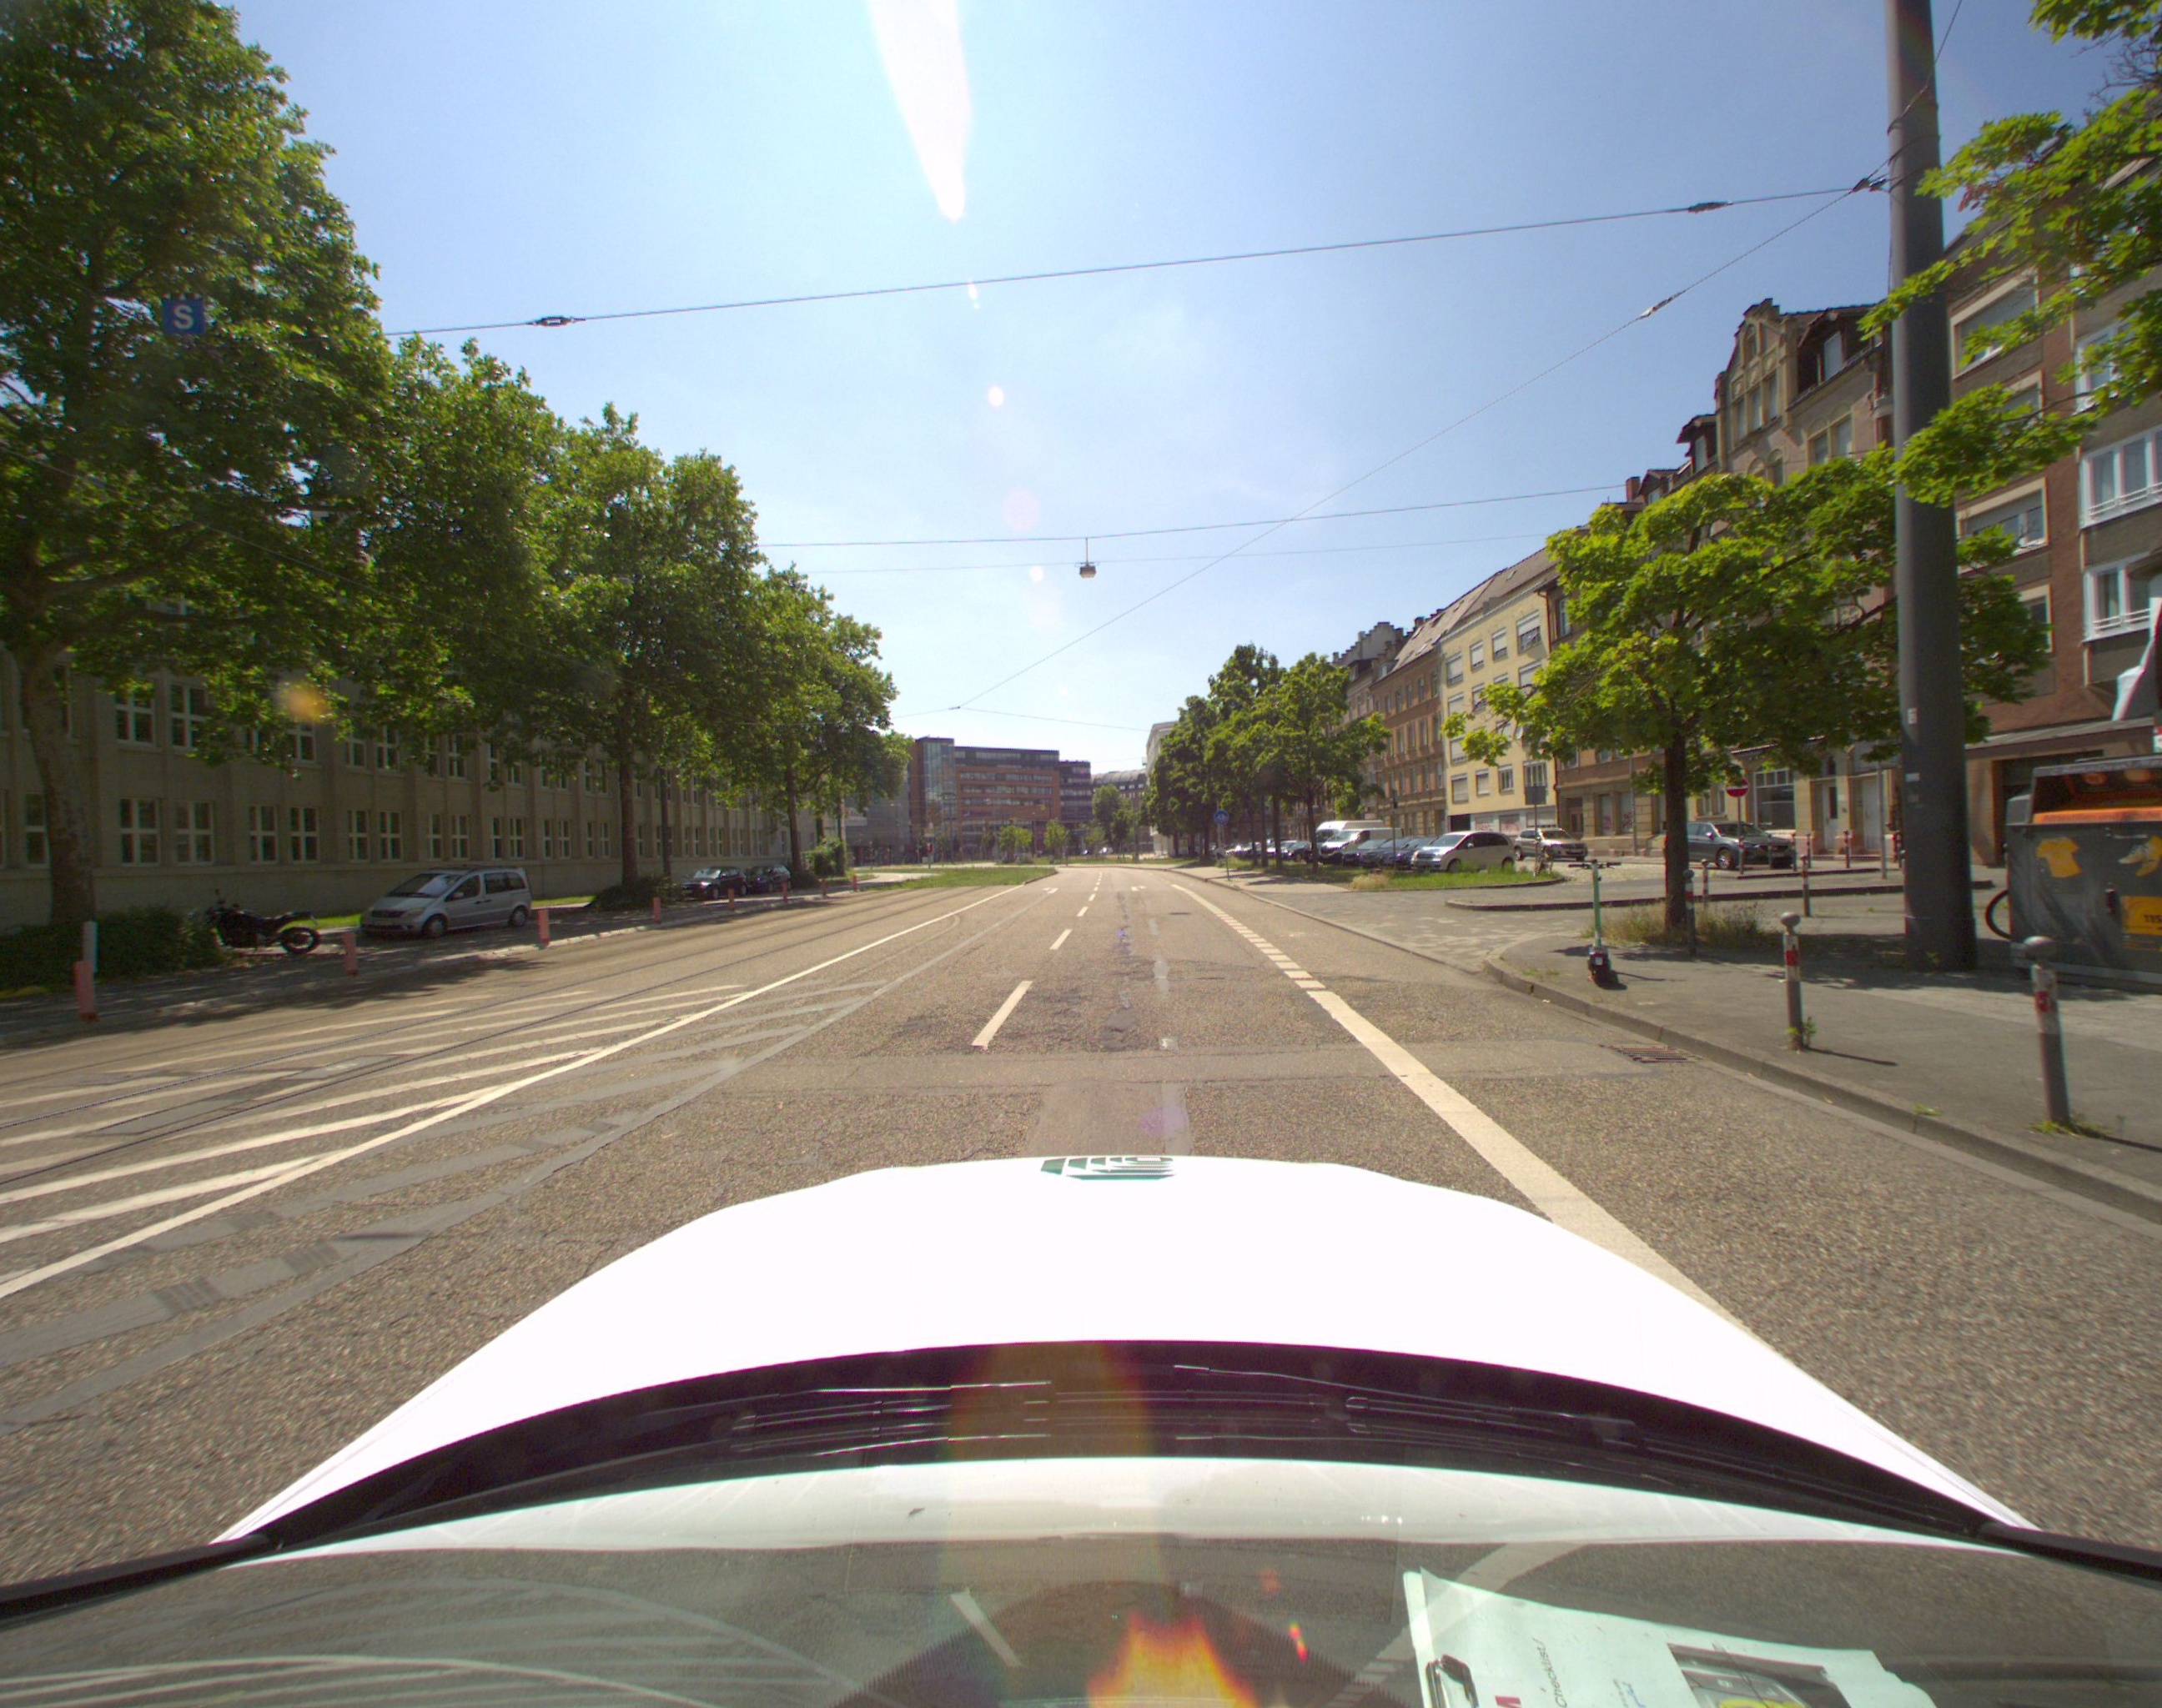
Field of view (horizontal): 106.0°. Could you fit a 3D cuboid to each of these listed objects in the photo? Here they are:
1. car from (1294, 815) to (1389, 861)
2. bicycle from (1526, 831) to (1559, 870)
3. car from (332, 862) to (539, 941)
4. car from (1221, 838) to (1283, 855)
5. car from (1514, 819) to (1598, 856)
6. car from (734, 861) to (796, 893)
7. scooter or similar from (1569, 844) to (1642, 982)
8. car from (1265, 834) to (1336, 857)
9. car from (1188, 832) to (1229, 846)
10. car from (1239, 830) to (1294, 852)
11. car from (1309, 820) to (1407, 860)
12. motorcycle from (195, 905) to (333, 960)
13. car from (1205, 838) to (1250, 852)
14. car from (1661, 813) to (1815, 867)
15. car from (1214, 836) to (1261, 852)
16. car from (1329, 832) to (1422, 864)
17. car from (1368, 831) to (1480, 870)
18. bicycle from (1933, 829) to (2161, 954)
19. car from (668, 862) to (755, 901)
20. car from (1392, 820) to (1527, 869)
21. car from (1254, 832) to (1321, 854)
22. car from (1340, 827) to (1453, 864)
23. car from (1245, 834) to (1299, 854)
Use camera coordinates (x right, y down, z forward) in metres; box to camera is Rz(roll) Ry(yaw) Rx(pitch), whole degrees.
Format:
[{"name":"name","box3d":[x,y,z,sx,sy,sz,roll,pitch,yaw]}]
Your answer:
[{"name":"car","box3d":[14.806,-0.941,46.119,5.575,2.460,2.214,-2,1,-35]},{"name":"bicycle","box3d":[14.824,-0.126,26.140,0.731,1.193,2.375,-1,1,33]},{"name":"car","box3d":[-17.293,1.189,22.155,1.985,1.810,4.305,-1,1,4]},{"name":"car","box3d":[14.541,-0.675,69.157,4.789,1.313,2.135,-2,1,-20]},{"name":"car","box3d":[23.043,-0.787,39.688,1.813,1.684,4.000,-1,1,1]},{"name":"car","box3d":[-16.330,1.151,42.281,1.583,1.423,4.320,-1,1,-2]},{"name":"scooter or similar","box3d":[5.255,0.557,8.201,0.386,1.214,1.187,-6,1,26]},{"name":"car","box3d":[14.554,-0.570,53.949,4.446,1.338,1.953,-2,1,-31]},{"name":"car","box3d":[15.766,-1.835,100.909,4.883,1.600,1.821,-2,1,-26]},{"name":"car","box3d":[15.246,-1.067,66.971,4.006,1.662,1.956,-2,1,-25]},{"name":"car","box3d":[14.533,-0.746,42.637,4.859,1.973,2.058,-2,1,-28]},{"name":"motorcycle","box3d":[-17.365,1.674,17.378,1.877,1.068,0.720,4,-2,-29]},{"name":"car","box3d":[14.806,-0.918,82.397,4.355,1.376,1.570,-2,1,-25]},{"name":"car","box3d":[21.876,-0.471,27.383,1.982,1.600,4.611,-1,1,9]},{"name":"car","box3d":[14.753,-0.948,76.801,4.001,1.313,1.959,-2,1,-20]},{"name":"car","box3d":[14.157,-0.309,39.196,4.000,1.386,1.812,-2,1,-20]},{"name":"car","box3d":[13.783,-0.166,32.780,4.000,1.399,1.812,-2,1,-20]},{"name":"bicycle","box3d":[9.962,0.334,8.422,0.484,1.152,1.708,-1,1,-1]},{"name":"car","box3d":[-16.491,1.186,36.599,1.756,1.483,4.326,-1,1,2]},{"name":"car","box3d":[13.845,-0.369,29.815,4.414,1.632,1.986,-2,1,-21]},{"name":"car","box3d":[14.591,-0.770,57.416,4.713,1.427,1.951,-2,1,-35]},{"name":"car","box3d":[13.984,-0.377,36.123,4.637,1.497,1.951,-2,1,-23]},{"name":"car","box3d":[14.992,-0.794,63.881,4.013,1.400,1.696,-2,1,-31]}]
